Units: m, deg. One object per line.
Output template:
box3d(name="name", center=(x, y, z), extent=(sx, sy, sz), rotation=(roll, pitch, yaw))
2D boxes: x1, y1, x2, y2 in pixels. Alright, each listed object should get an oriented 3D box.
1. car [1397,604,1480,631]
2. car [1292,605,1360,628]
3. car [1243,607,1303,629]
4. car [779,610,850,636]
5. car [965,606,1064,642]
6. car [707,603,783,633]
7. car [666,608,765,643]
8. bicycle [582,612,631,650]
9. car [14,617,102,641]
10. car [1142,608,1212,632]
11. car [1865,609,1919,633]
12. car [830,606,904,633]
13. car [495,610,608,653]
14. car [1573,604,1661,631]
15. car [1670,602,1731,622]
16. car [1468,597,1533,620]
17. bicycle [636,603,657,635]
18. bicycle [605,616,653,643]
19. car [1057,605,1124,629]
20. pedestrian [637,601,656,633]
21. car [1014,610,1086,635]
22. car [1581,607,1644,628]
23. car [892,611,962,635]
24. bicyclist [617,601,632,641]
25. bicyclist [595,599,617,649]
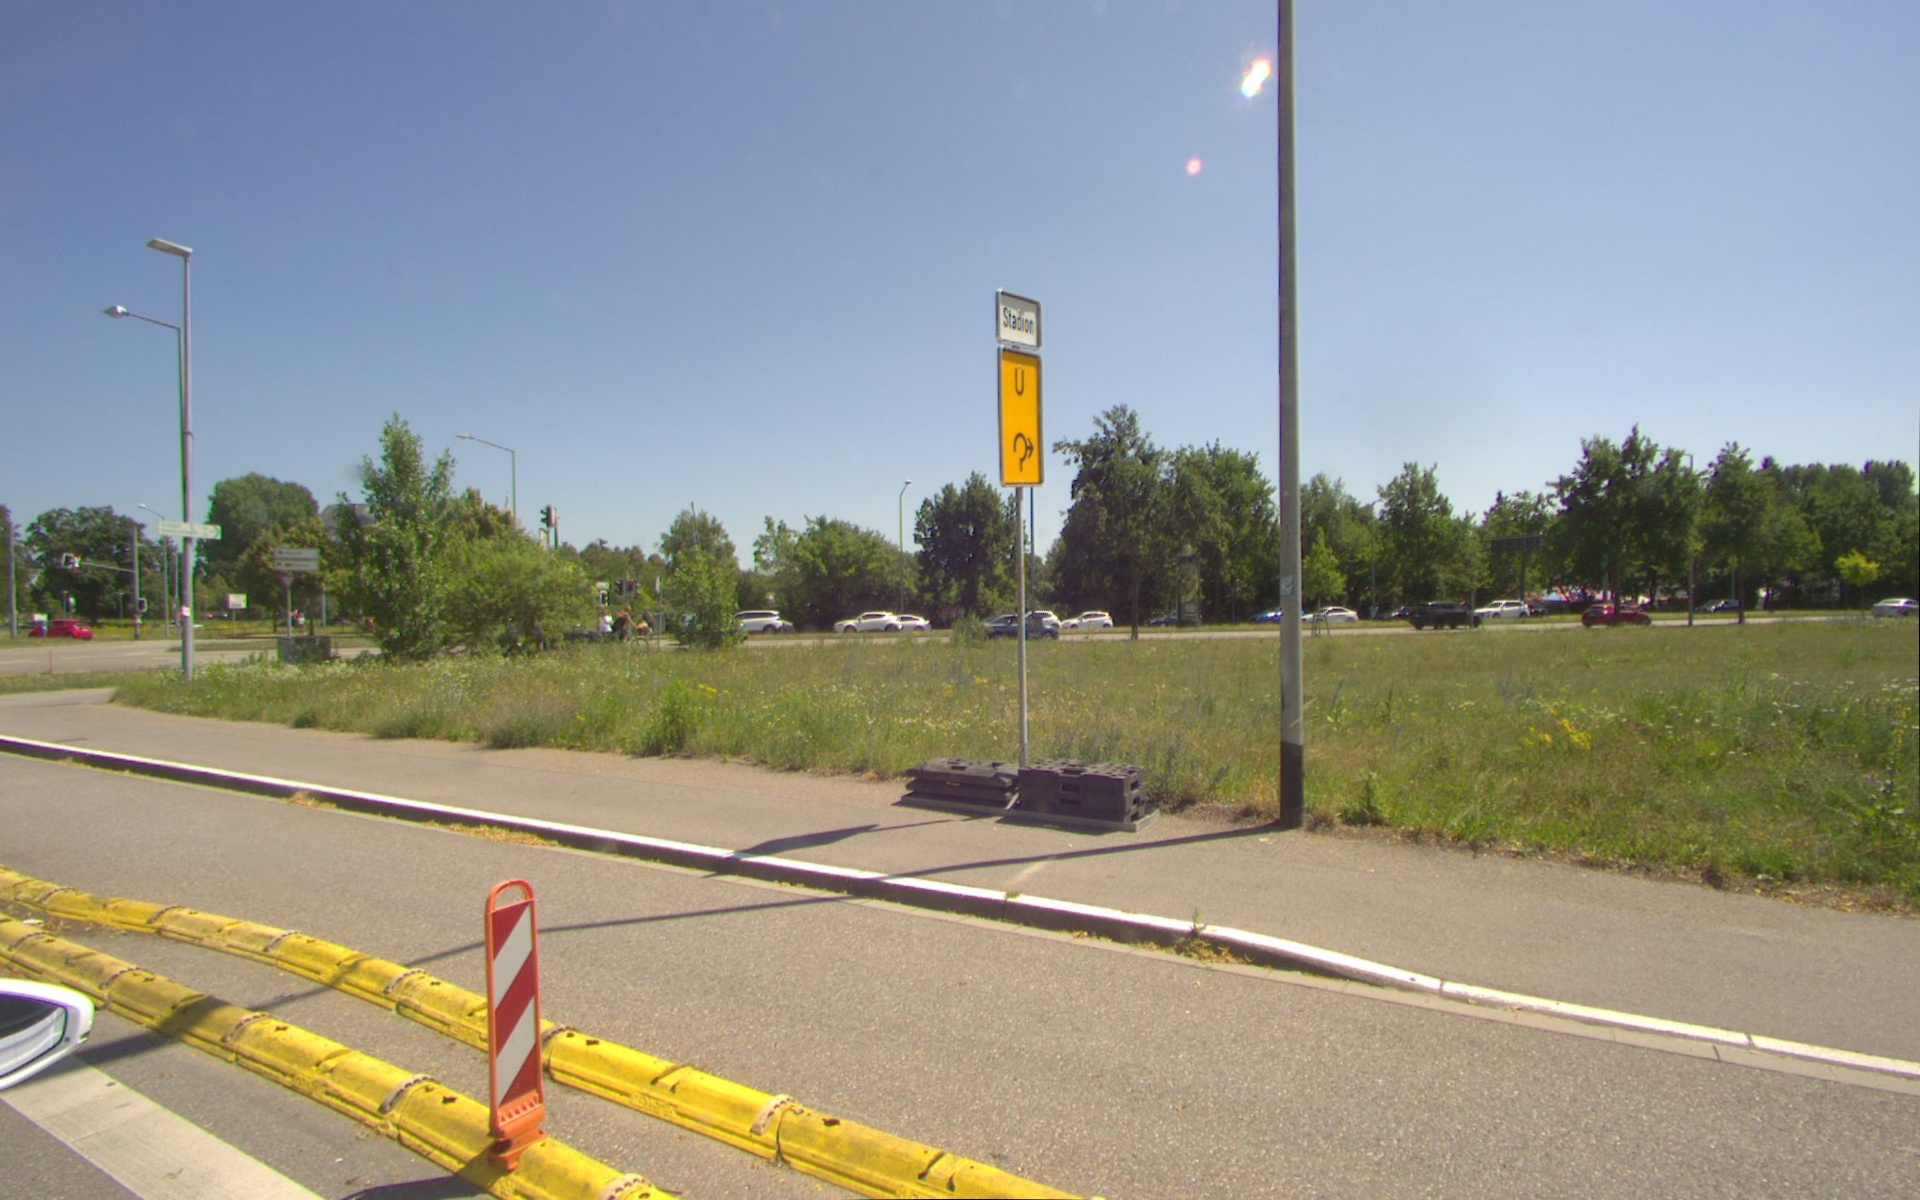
box3d(name="car", center=(29.034, 1.034, 60.727), extent=(4.341, 1.617, 1.996), rotation=(0, 0, -17))
box3d(name="car", center=(26.480, 1.195, 72.430), extent=(4.365, 1.612, 1.846), rotation=(0, -2, -16))
box3d(name="car", center=(23.263, 1.334, 74.452), extent=(3.927, 1.558, 1.764), rotation=(0, -2, -14))
box3d(name="car", center=(-9.469, 1.494, 64.912), extent=(4.365, 1.612, 1.846), rotation=(0, -2, -16))
box3d(name="car", center=(2.608, 1.129, 48.075), extent=(4.340, 1.617, 1.996), rotation=(0, 1, -16))
box3d(name="car", center=(-13.001, 1.129, 60.514), extent=(4.365, 1.758, 1.846), rotation=(0, -2, -16))
box3d(name="car", center=(-12.028, 1.207, 49.306), extent=(4.359, 1.617, 1.988), rotation=(0, 1, -33))
box3d(name="bicycle", center=(-13.139, 1.170, 37.313), extent=(0.628, 1.370, 2.896), rotation=(0, -2, 4))
box3d(name="car", center=(-64.078, 2.060, 71.173), extent=(4.265, 1.675, 1.901), rotation=(0, -2, -10))
box3d(name="car", center=(14.910, 1.411, 68.881), extent=(4.365, 1.612, 1.846), rotation=(0, -2, -16))
box3d(name="car", center=(63.543, 1.385, 67.498), extent=(4.344, 1.547, 1.995), rotation=(0, 0, -20))
box3d(name="car", center=(-5.864, 1.254, 63.018), extent=(4.365, 1.612, 1.846), rotation=(0, -2, -16))
box3d(name="car", center=(-16.206, 1.228, 39.794), extent=(3.945, 1.573, 1.717), rotation=(0, 2, -32))
box3d(name="car", center=(39.044, 1.083, 59.541), extent=(4.340, 1.546, 1.998), rotation=(0, -2, -15))
box3d(name="car", center=(61.884, 0.994, 83.654), extent=(4.365, 1.612, 1.846), rotation=(0, -2, -16))
box3d(name="car", center=(41.256, 0.666, 76.424), extent=(4.366, 1.612, 1.846), rotation=(0, -2, -17))
box3d(name="bicycle", center=(-16.749, 1.042, 53.554), extent=(0.967, 1.617, 2.879), rotation=(0, -2, -16))
box3d(name="bicycle", center=(-11.273, 1.019, 34.144), extent=(0.365, 0.895, 1.580), rotation=(-1, -2, 43))
box3d(name="car", center=(9.197, 1.162, 70.629), extent=(4.365, 1.613, 1.845), rotation=(0, 0, -16))
box3d(name="pedestrian", center=(-16.705, 0.908, 53.416), extent=(0.954, 1.681, 0.885), rotation=(0, -1, -16))
box3d(name="car", center=(5.972, 1.499, 66.481), extent=(4.365, 1.612, 1.846), rotation=(0, -2, -16))
box3d(name="car", center=(52.375, 1.408, 80.361), extent=(4.337, 1.612, 1.846), rotation=(0, -2, -16))
box3d(name="car", center=(-2.231, 1.549, 66.941), extent=(4.365, 1.612, 1.846), rotation=(0, -2, -16))
box3d(name="bicyclist", center=(-11.400, 0.723, 34.009), extent=(0.375, 1.336, 0.353), rotation=(-1, -1, 43))
box3d(name="bicyclist", center=(-13.148, 0.894, 37.157), extent=(0.597, 1.864, 0.572), rotation=(0, -1, 2))
